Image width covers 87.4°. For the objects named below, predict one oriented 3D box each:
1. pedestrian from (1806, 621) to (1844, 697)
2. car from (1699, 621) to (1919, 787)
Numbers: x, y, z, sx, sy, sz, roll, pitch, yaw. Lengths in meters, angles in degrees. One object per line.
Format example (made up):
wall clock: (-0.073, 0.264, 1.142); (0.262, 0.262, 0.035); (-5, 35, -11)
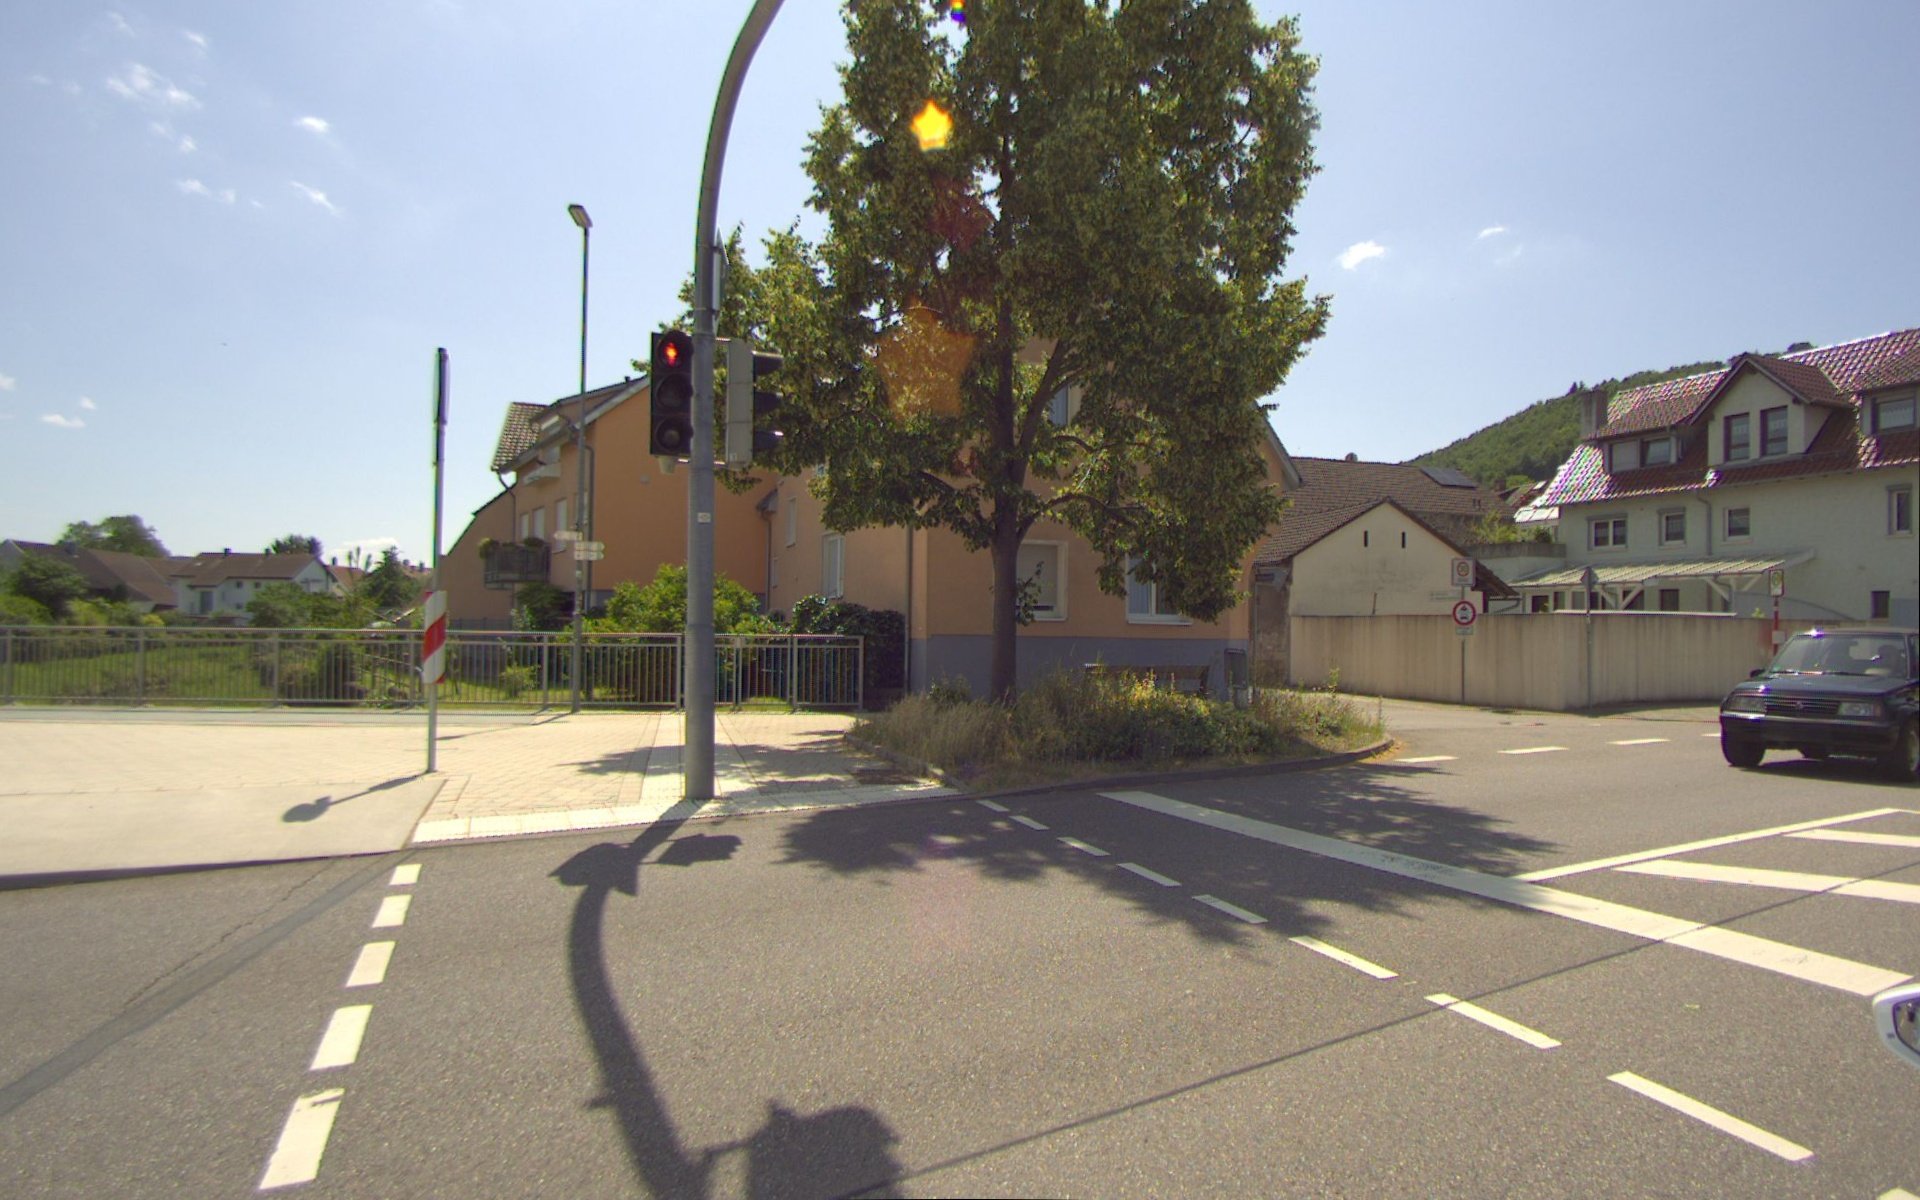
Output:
pedestrian: (20.593, 1.393, 23.911); (0.547, 1.788, 0.434); (1, -1, -10)
car: (10.595, 1.125, 11.963); (3.629, 1.673, 1.729); (2, -2, -33)
